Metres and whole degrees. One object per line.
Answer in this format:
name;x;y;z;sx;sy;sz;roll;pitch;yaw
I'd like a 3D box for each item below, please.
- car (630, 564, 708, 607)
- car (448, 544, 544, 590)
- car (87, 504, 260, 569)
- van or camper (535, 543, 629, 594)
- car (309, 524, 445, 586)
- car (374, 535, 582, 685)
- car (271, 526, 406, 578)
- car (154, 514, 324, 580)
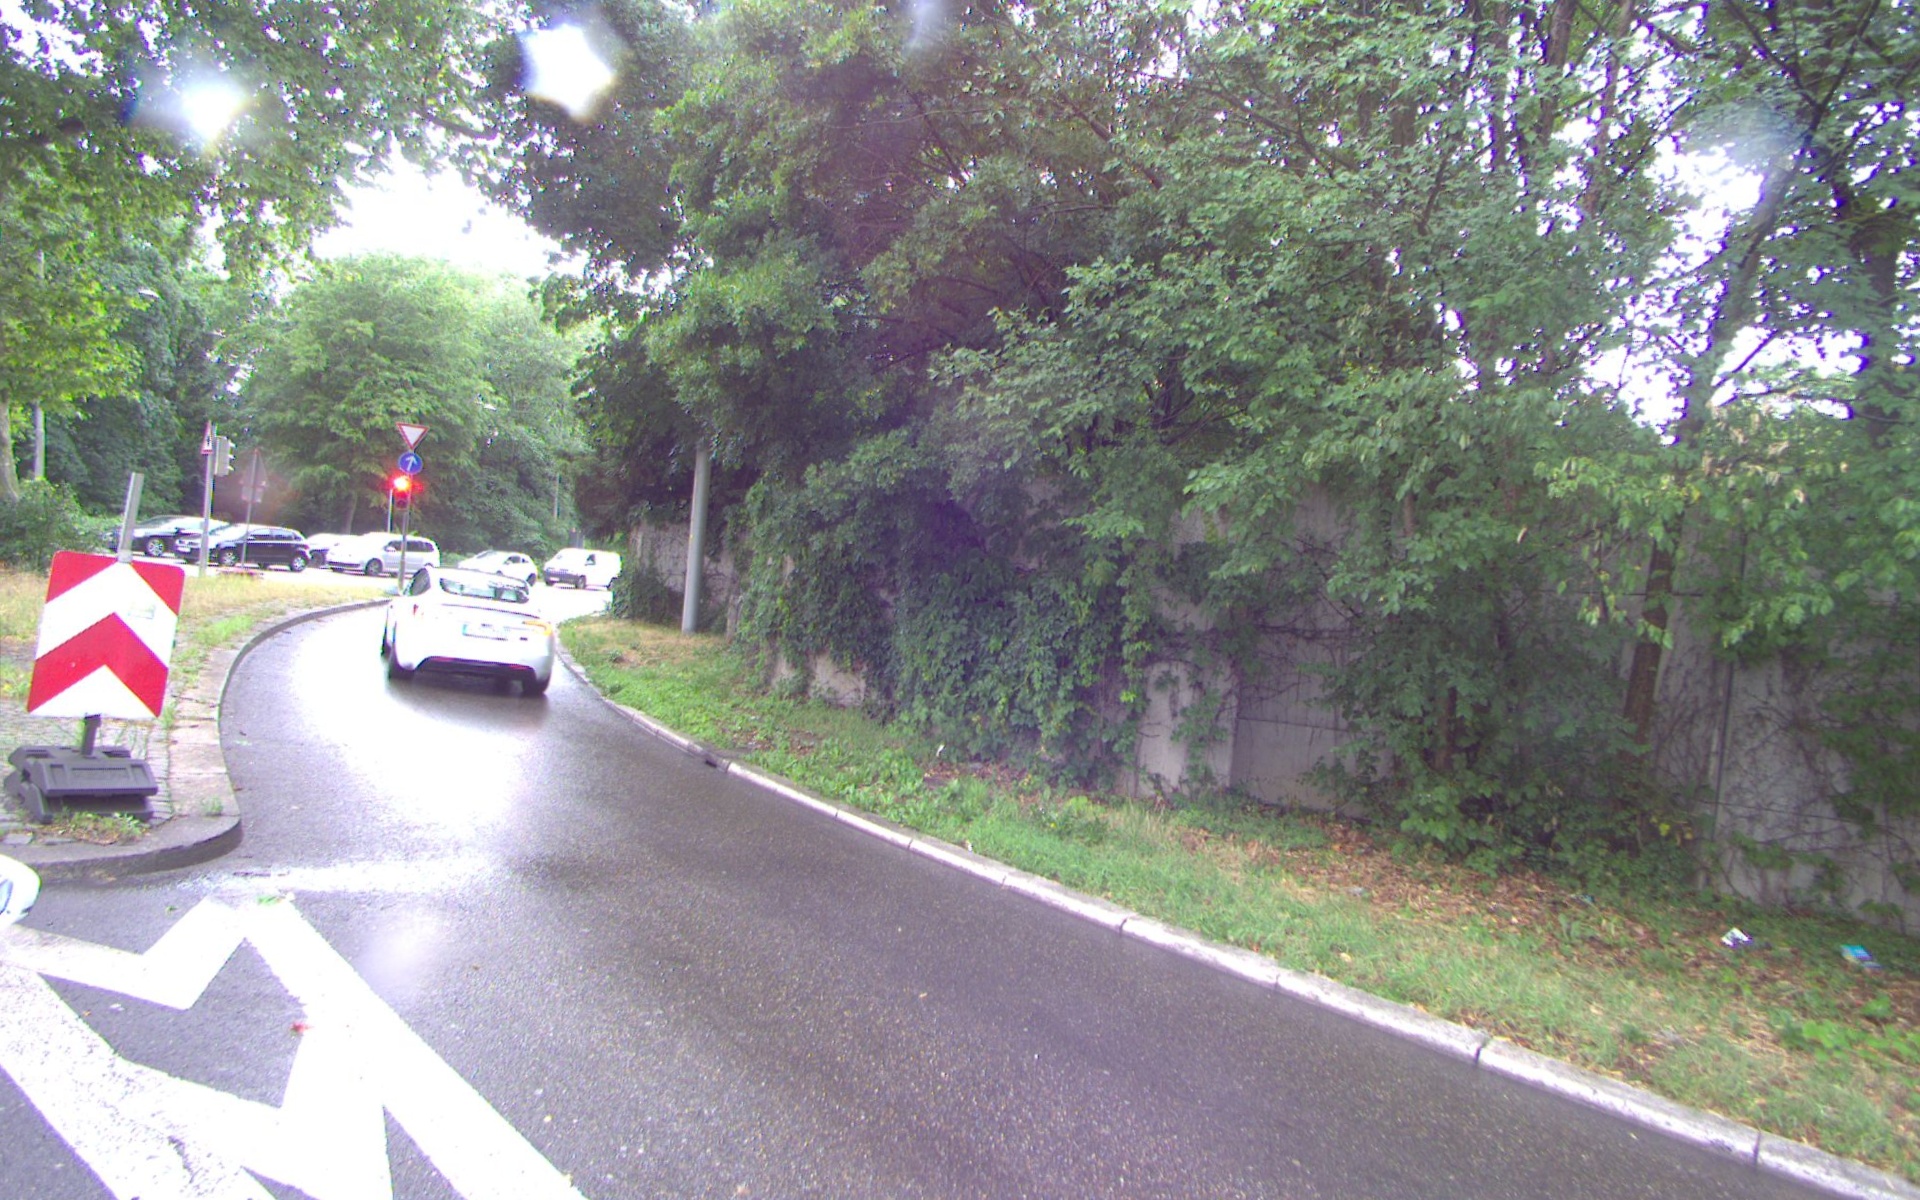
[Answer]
car;-15.467;-0.734;53.740;1.913;1.699;4.291;7;-2;15
car;-20.537;-1.425;44.688;1.627;1.478;3.869;7;-2;16
car;-26.666;-2.113;34.286;1.913;1.457;4.218;7;-2;16
van or camper;-19.052;-1.547;50.982;1.870;1.970;4.869;7;-1;14
car;-22.081;-1.654;38.310;1.871;1.699;4.216;7;-2;16
car;-6.753;0.032;13.784;1.843;1.464;4.578;11;-3;-33
car;-24.779;-1.875;40.330;1.795;1.418;4.452;7;-2;16
car;-23.312;-1.669;32.731;1.759;1.477;4.205;7;-2;16
